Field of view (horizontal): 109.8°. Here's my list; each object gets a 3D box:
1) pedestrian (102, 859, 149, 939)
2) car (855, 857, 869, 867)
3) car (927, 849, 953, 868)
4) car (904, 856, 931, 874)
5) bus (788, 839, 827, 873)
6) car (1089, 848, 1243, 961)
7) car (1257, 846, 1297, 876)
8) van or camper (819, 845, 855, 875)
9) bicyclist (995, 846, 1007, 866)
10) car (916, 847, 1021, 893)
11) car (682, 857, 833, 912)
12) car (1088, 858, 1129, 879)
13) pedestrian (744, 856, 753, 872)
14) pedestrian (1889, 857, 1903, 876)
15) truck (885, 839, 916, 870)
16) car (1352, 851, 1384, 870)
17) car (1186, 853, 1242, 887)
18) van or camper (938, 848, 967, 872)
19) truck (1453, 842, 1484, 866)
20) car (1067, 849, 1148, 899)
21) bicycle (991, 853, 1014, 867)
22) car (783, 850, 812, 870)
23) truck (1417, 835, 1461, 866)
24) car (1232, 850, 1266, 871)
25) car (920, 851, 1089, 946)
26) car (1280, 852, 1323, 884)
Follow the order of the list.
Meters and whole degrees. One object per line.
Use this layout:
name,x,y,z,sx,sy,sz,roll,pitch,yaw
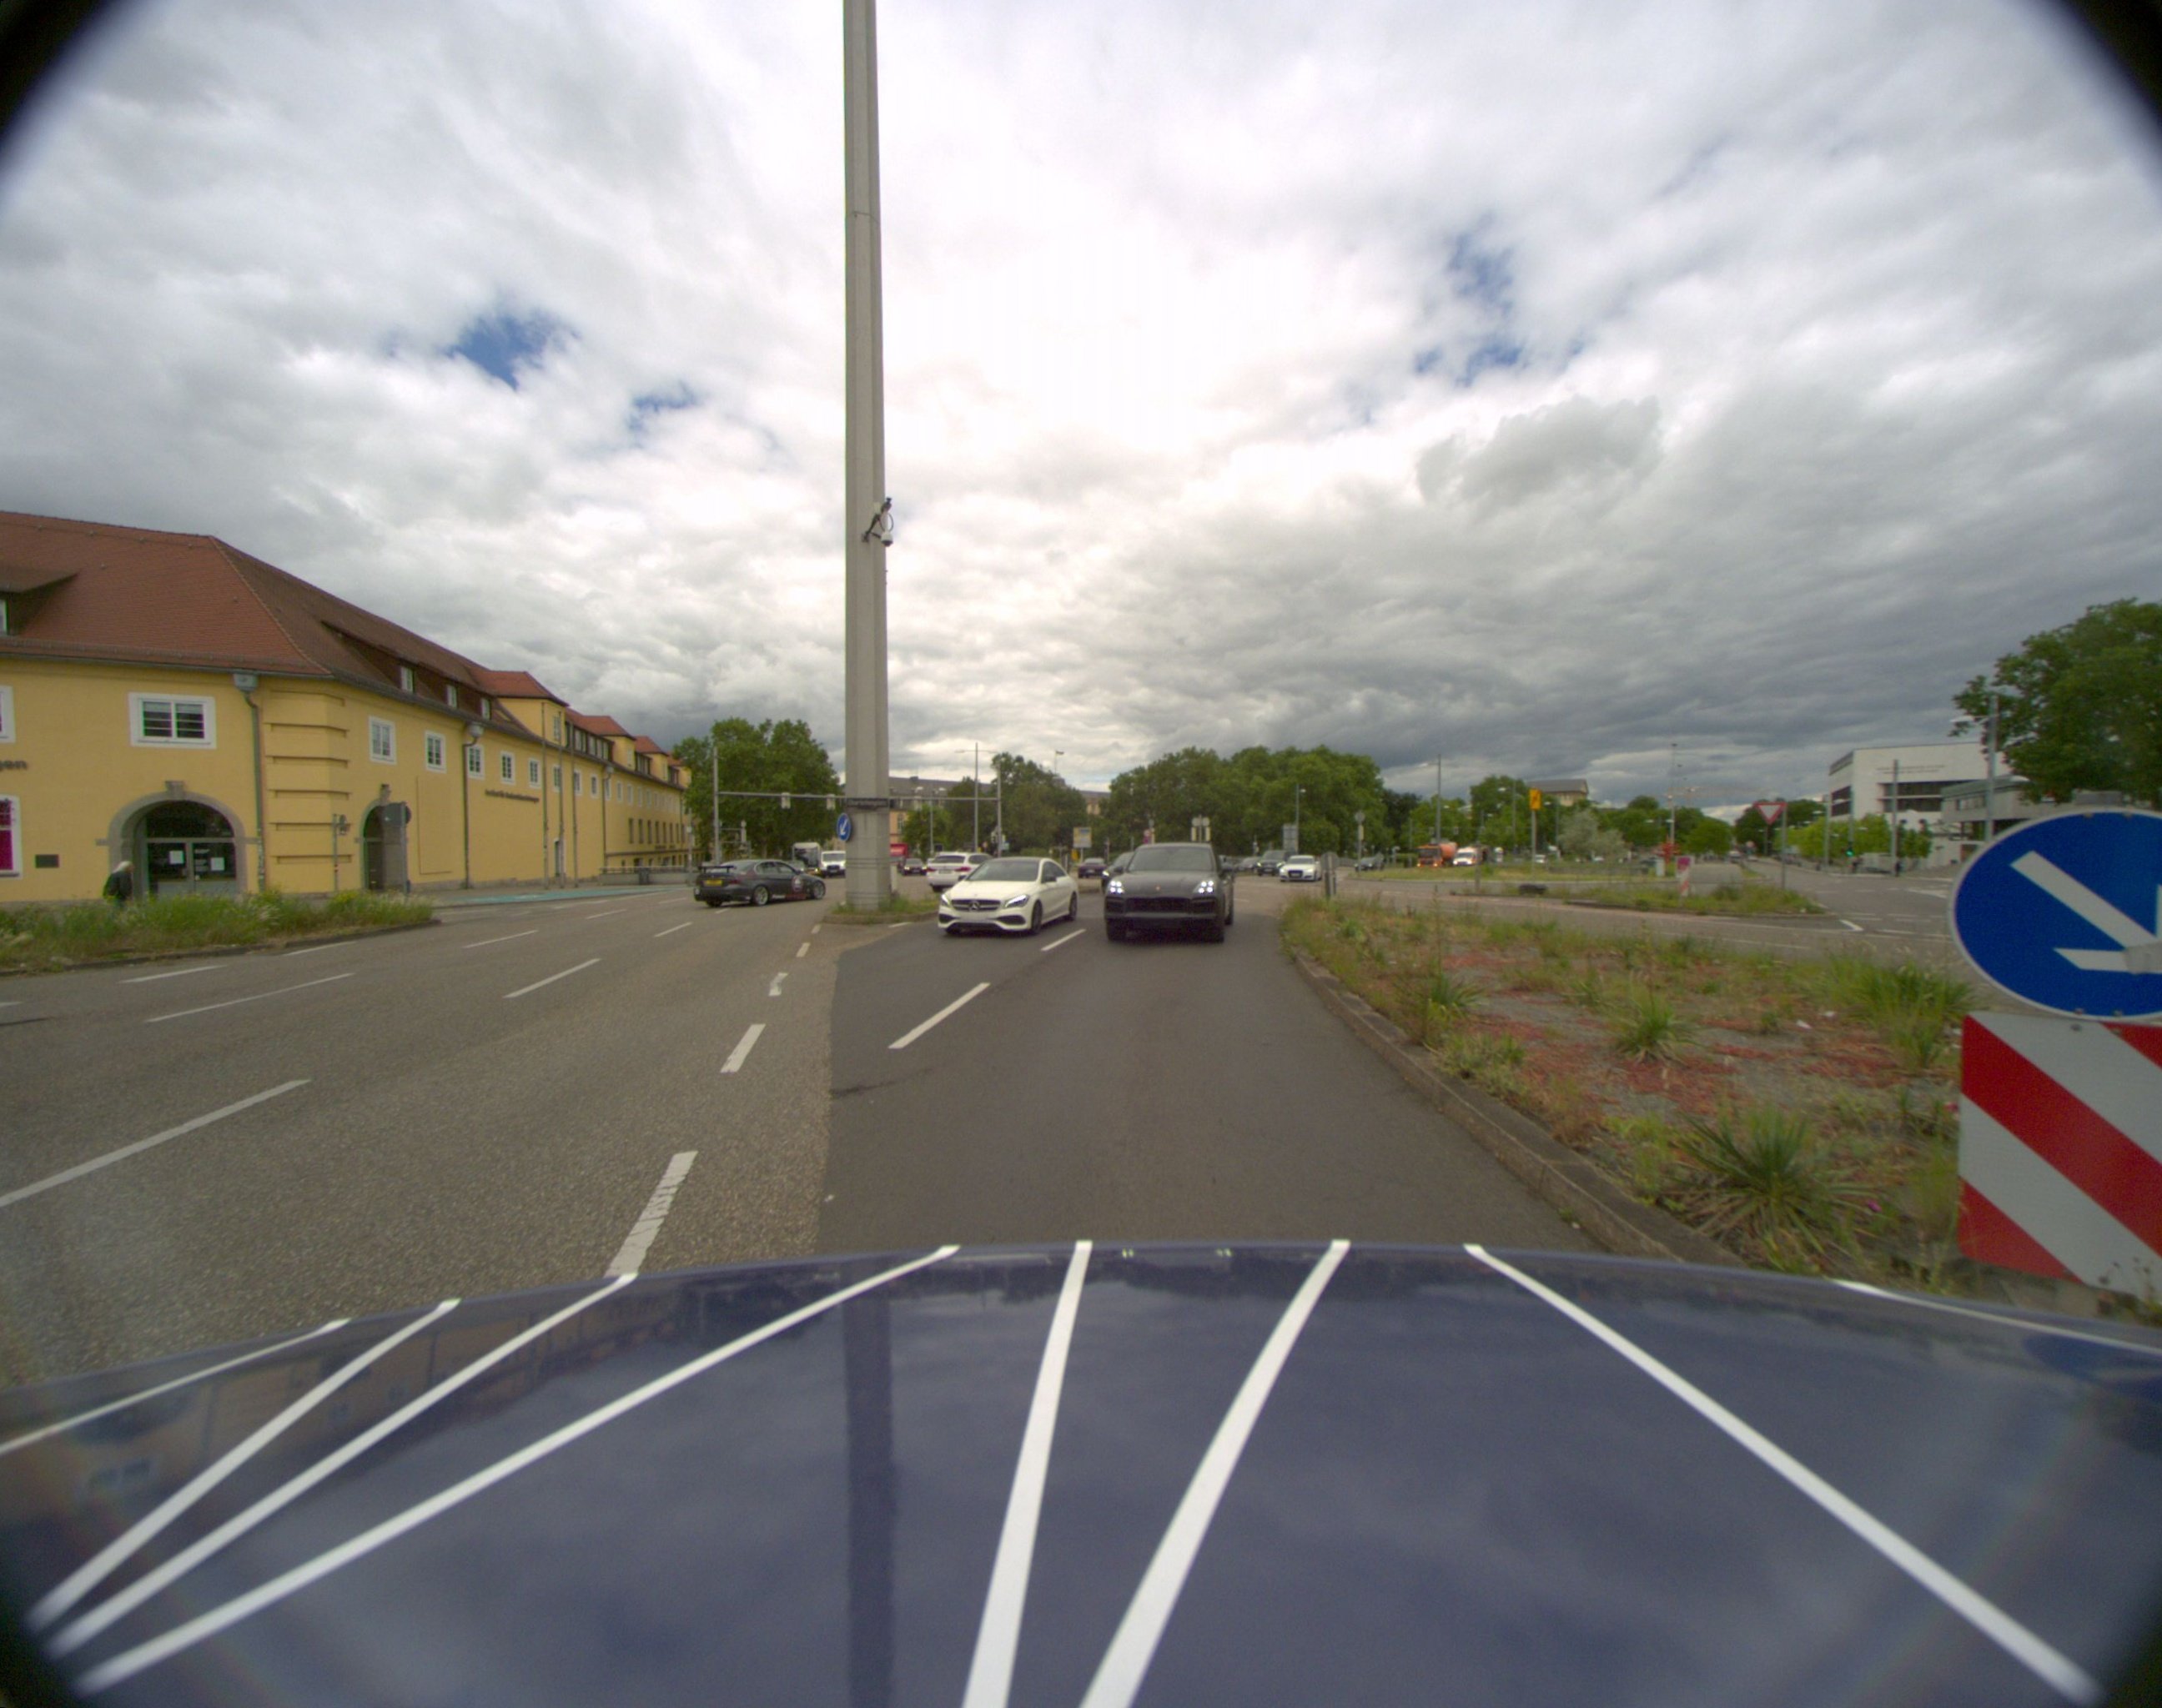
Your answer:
pedestrian,-23.223,1.072,18.474,0.556,1.884,0.640,0,2,40
car,-32.246,1.190,111.983,1.816,1.370,3.632,-1,1,-18
car,-13.869,0.399,74.537,2.001,1.744,3.954,-1,1,-17
car,-13.646,0.859,63.157,1.742,1.392,3.705,-1,1,-19
bus,-28.320,0.100,78.847,3.438,3.185,13.040,-1,1,-19
car,1.770,0.753,13.878,2.002,1.629,5.026,-1,0,15
car,14.057,0.470,54.330,1.856,1.976,4.649,1,1,25
van or camper,-19.473,0.413,60.930,2.376,2.249,6.279,0,0,-15
bicyclist,-6.326,0.157,59.979,0.723,1.630,0.504,-1,1,-40
car,-4.184,0.551,29.228,1.996,1.496,5.044,-1,2,16
car,-9.648,0.859,23.091,1.756,1.326,4.417,-2,1,16
car,1.834,0.919,49.192,1.673,1.257,4.062,-1,0,16
pedestrian,-29.906,0.891,68.367,0.682,1.372,0.578,-1,1,-19
pedestrian,75.776,1.198,70.643,0.681,1.738,0.893,0,1,35
truck,-21.288,0.076,89.297,2.794,3.469,8.336,-1,1,-18
car,28.207,0.617,74.686,1.855,1.729,3.748,0,1,38
car,7.021,0.786,39.888,1.995,1.592,4.006,-1,1,23
van or camper,-11.172,0.487,65.906,1.867,1.905,4.706,-1,1,-17
truck,46.369,-0.039,90.769,1.951,2.768,5.801,0,1,41
car,1.050,0.654,27.224,1.996,1.537,4.572,0,1,13
bicycle,-6.200,0.436,60.027,1.732,1.066,0.504,-1,1,-39
car,-21.980,0.431,58.990,1.830,1.401,3.993,-1,1,-17
truck,43.993,-0.417,93.250,2.720,3.595,9.197,0,1,39
car,13.811,0.506,62.336,1.995,1.668,4.006,0,1,22
car,-1.318,0.758,15.312,1.868,1.560,4.656,-1,1,14
car,12.352,0.734,42.383,2.092,1.600,4.418,0,1,19
